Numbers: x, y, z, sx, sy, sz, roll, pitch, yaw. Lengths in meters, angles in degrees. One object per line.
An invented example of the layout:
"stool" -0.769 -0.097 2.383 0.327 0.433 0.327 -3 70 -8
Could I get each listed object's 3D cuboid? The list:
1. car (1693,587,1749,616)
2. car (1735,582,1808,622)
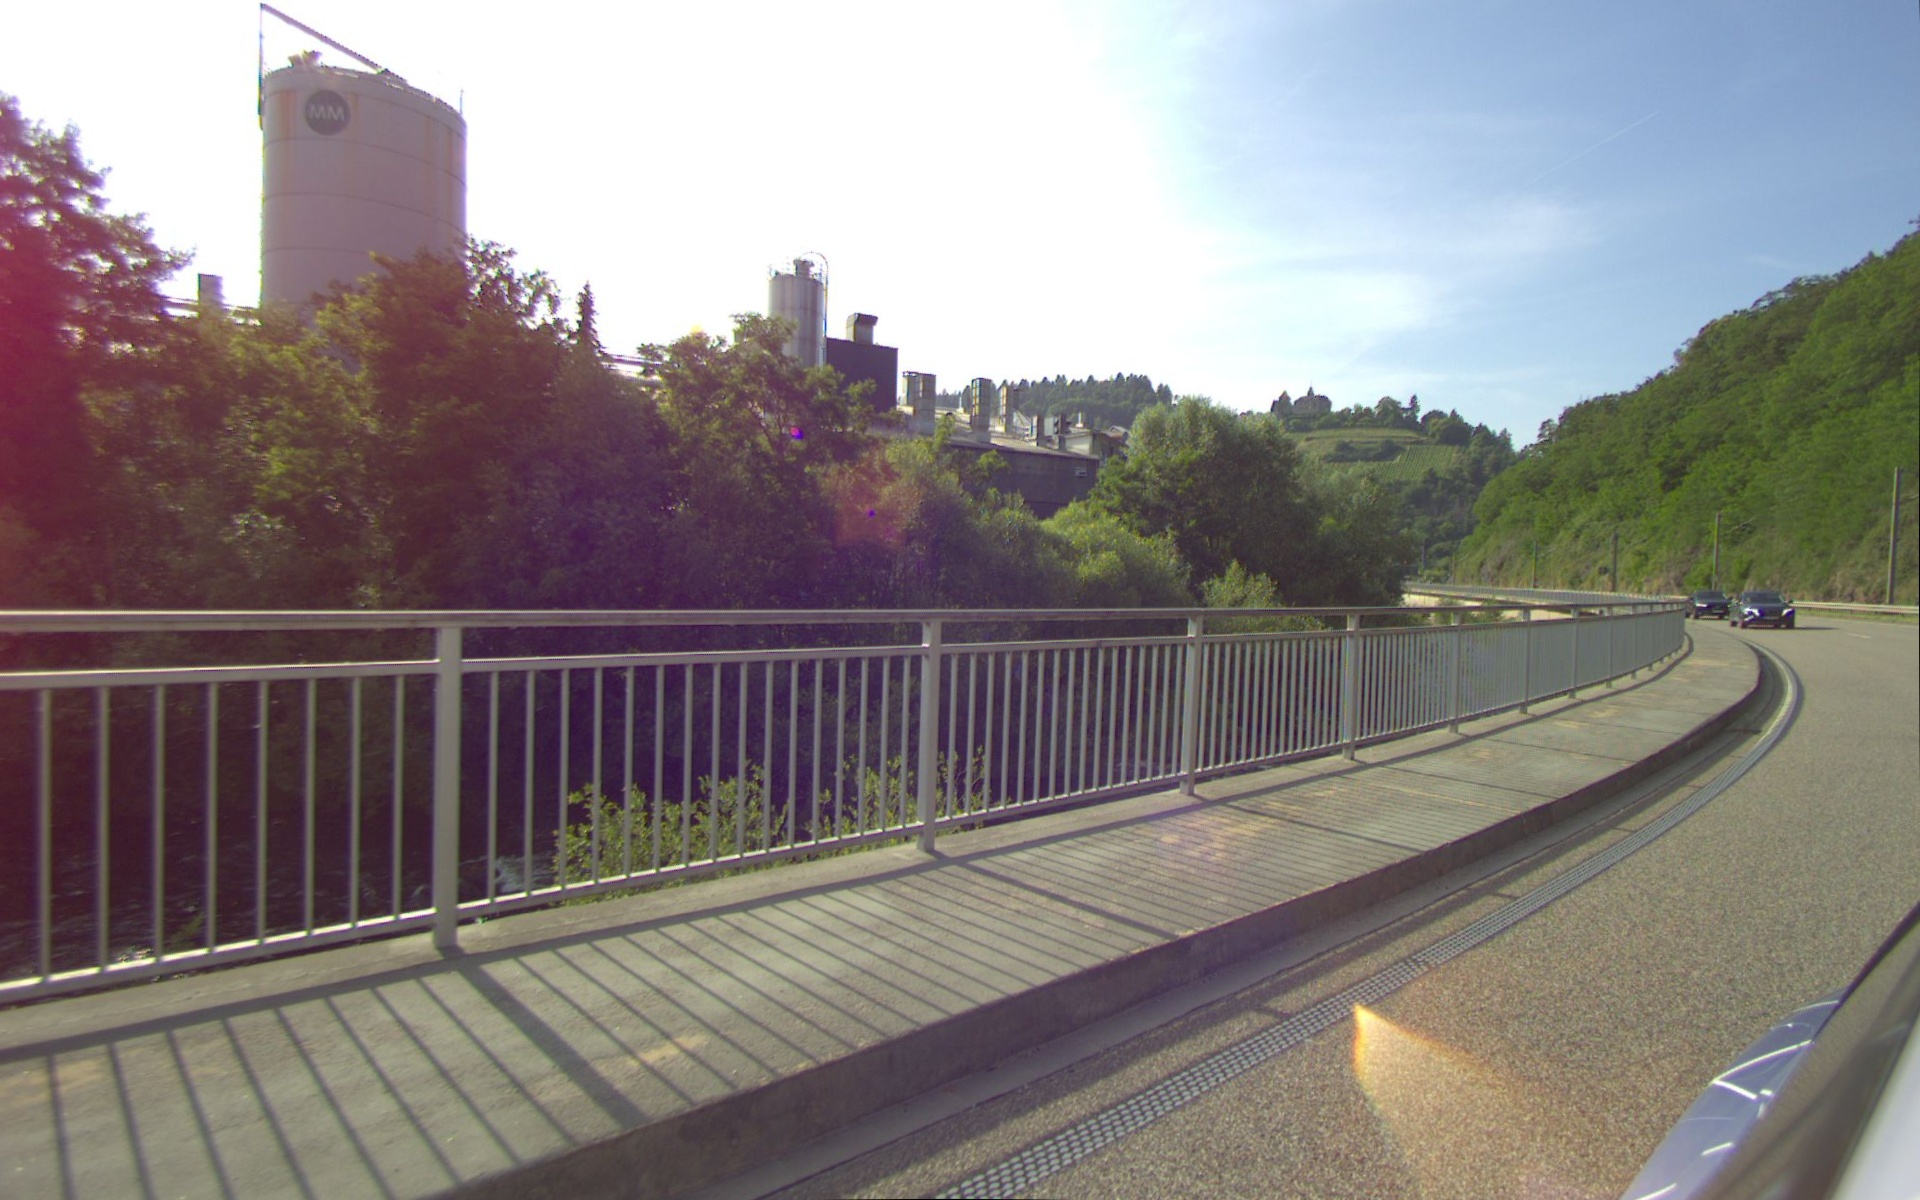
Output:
"car" 42.671 0.093 56.837 1.983 1.410 3.957 3 0 30
"car" 35.802 0.052 44.745 1.848 1.605 3.961 0 2 29
